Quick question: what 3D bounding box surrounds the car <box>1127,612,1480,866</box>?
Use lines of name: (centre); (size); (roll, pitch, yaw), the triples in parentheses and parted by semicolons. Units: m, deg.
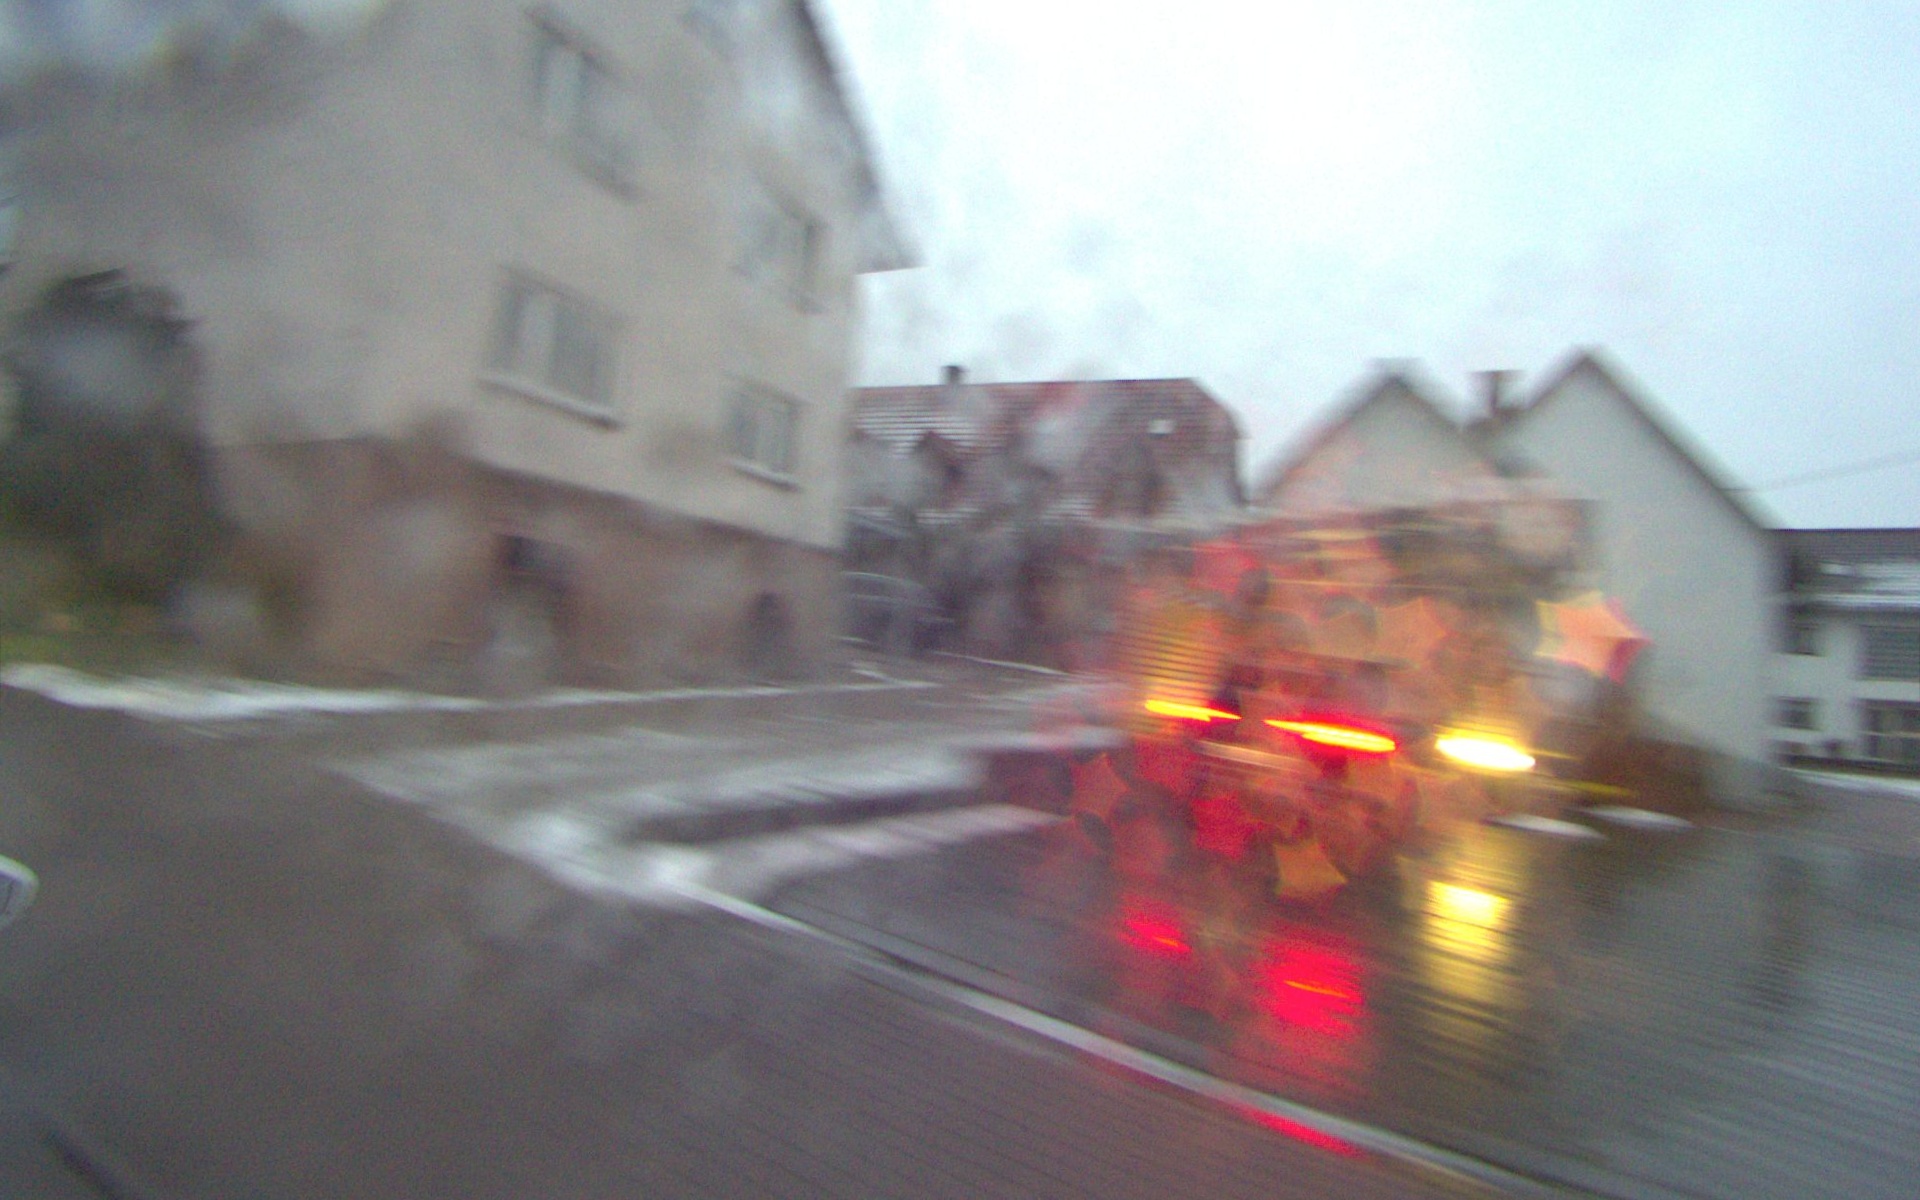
car: (3.424, 1.274, 9.470); (1.968, 1.635, 3.994); (8, -3, 35)

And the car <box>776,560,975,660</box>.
car: (-1.942, 0.231, 23.098); (3.931, 1.791, 2.000); (5, -4, 28)
